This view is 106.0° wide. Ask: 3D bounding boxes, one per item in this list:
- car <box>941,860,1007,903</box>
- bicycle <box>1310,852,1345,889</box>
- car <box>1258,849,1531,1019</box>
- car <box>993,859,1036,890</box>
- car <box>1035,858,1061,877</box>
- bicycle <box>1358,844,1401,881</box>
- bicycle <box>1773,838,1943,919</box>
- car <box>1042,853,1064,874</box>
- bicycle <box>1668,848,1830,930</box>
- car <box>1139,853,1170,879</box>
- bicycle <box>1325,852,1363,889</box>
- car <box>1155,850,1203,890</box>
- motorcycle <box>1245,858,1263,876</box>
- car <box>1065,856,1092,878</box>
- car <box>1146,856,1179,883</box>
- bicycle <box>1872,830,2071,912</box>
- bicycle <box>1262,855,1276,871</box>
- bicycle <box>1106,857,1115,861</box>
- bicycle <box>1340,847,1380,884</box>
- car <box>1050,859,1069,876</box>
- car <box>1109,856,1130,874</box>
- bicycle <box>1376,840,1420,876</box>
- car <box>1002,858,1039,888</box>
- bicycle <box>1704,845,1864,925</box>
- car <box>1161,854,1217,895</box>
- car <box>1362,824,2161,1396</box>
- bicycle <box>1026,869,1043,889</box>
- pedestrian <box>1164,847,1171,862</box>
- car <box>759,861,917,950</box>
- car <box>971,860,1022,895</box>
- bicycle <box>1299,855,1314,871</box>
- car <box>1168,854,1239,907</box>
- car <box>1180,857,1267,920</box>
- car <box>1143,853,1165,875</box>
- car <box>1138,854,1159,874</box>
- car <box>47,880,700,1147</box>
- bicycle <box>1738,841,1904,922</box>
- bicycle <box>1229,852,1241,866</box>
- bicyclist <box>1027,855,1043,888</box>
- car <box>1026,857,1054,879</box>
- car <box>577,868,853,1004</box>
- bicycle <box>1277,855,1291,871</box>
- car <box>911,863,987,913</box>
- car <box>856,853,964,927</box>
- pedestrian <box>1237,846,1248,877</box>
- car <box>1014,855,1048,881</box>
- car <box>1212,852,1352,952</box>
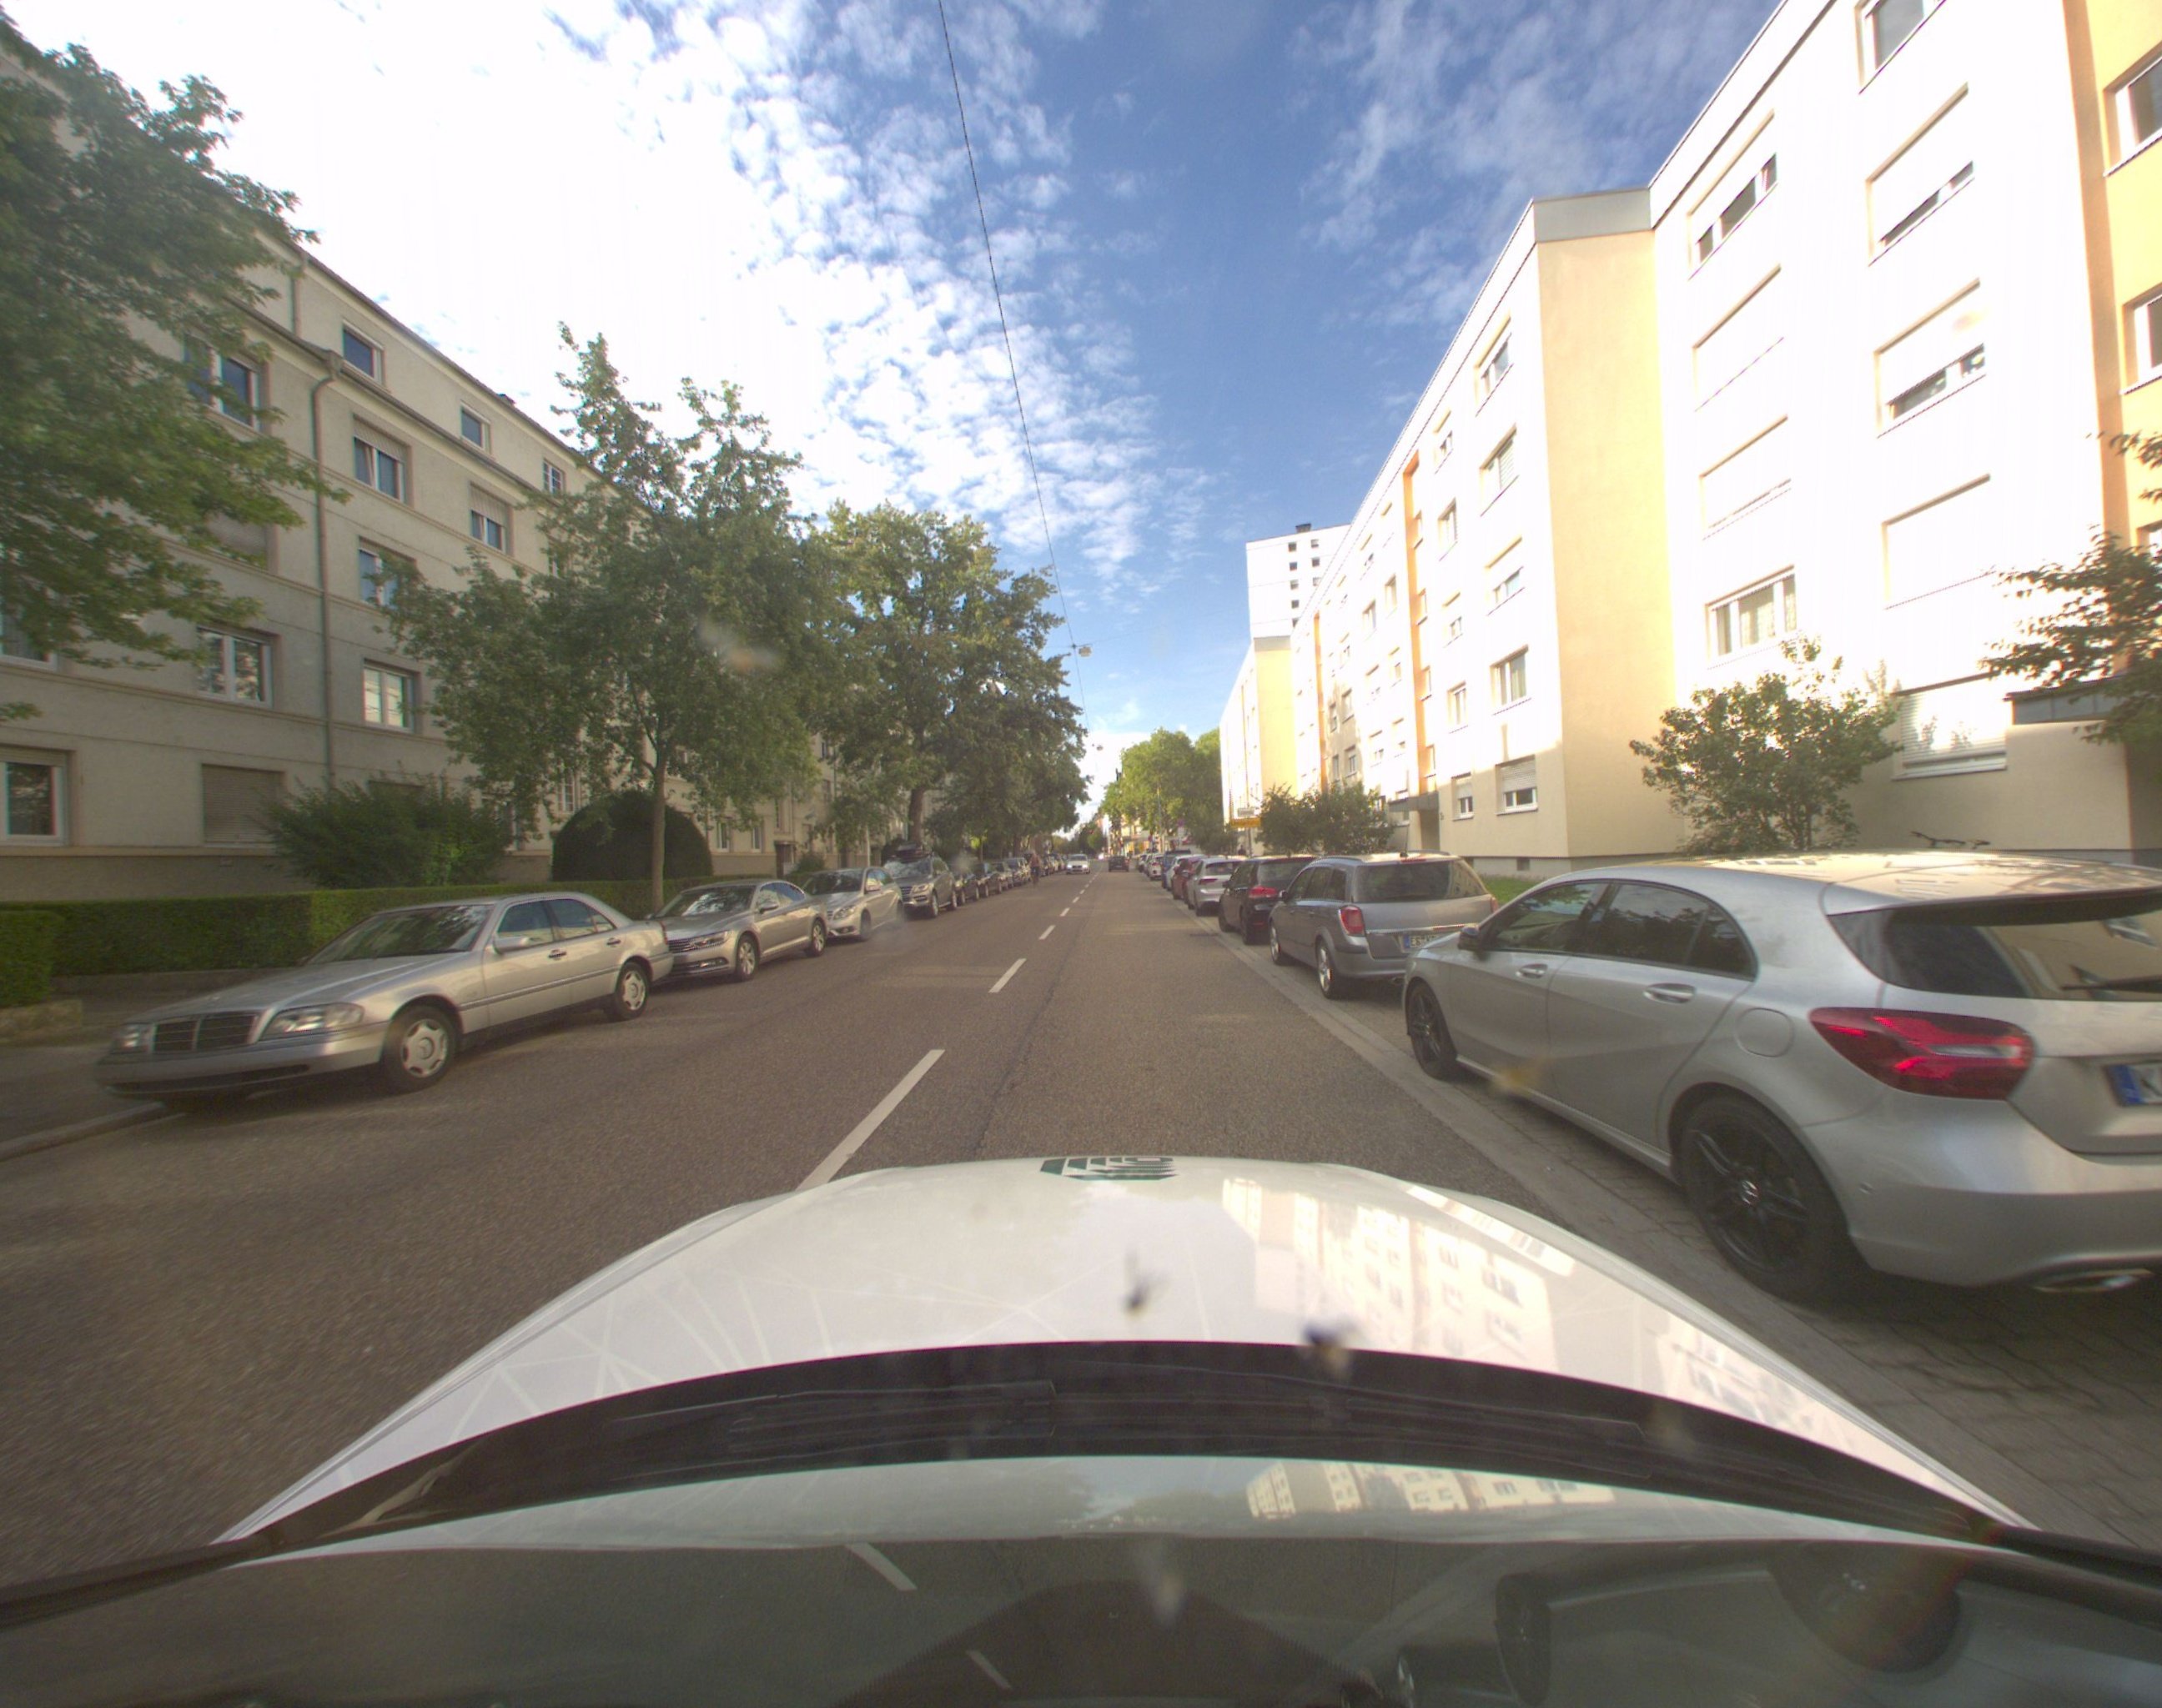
[{"bbox_3d":[-4.410,1.112,34.331,1.677,1.480,4.458,-6,0,5],"label":"car"},{"bbox_3d":[9.291,0.596,30.807,0.601,1.291,2.637,-3,0,3],"label":"bicycle"},{"bbox_3d":[3.372,0.747,9.711,1.677,1.485,4.296,-4,0,2],"label":"car"},{"bbox_3d":[-3.601,1.075,44.593,1.607,1.468,4.018,-5,-1,4],"label":"car"},{"bbox_3d":[-2.926,1.216,72.777,1.686,1.493,4.339,-4,0,6],"label":"car"},{"bbox_3d":[11.238,0.316,30.759,0.723,1.291,2.637,-3,0,3],"label":"bicycle"},{"bbox_3d":[11.203,0.333,11.852,0.499,1.030,2.027,-5,-1,2],"label":"bicycle"},{"bbox_3d":[-2.639,0.885,78.210,1.716,1.882,4.194,-4,0,2],"label":"car"},{"bbox_3d":[9.584,0.472,11.817,0.591,1.030,2.120,-5,-1,2],"label":"bicycle"},{"bbox_3d":[4.831,0.783,53.750,1.722,1.580,4.118,-4,0,2],"label":"car"},{"bbox_3d":[9.927,0.610,30.815,0.601,1.291,2.637,-4,0,3],"label":"bicycle"},{"bbox_3d":[4.473,0.708,37.575,1.722,1.649,4.118,-4,0,2],"label":"car"},{"bbox_3d":[10.390,0.755,48.982,0.628,1.045,2.394,-2,0,2],"label":"motorcycle"},{"bbox_3d":[-0.157,0.999,64.632,1.851,1.528,4.014,-2,0,3],"label":"car"},{"bbox_3d":[4.743,0.879,47.745,1.721,1.487,4.646,-2,0,4],"label":"car"},{"bbox_3d":[12.645,0.228,11.683,0.499,1.030,2.136,-6,-1,3],"label":"bicycle"},{"bbox_3d":[11.303,0.515,48.901,0.457,0.941,1.517,-4,0,2],"label":"bicycle"},{"bbox_3d":[7.505,1.251,206.762,2.023,1.082,0.618,-3,0,-12],"label":"bicycle"},{"bbox_3d":[10.520,0.427,30.777,0.593,1.291,2.637,-5,-1,3],"label":"bicycle"},{"bbox_3d":[-2.330,1.395,87.838,1.793,1.620,3.803,-5,0,1],"label":"car"},{"bbox_3d":[3.359,0.955,71.338,1.745,1.413,4.002,-2,0,2],"label":"car"},{"bbox_3d":[11.951,0.150,30.804,0.723,1.291,2.637,-2,0,3],"label":"bicycle"},{"bbox_3d":[-3.659,1.114,49.986,1.733,1.620,3.995,-6,0,1],"label":"car"},{"bbox_3d":[10.177,0.418,11.905,0.499,1.030,2.097,-5,-1,2],"label":"bicycle"},{"bbox_3d":[4.281,0.789,32.763,1.722,1.461,4.118,-4,0,2],"label":"car"},{"bbox_3d":[3.069,0.678,4.292,1.694,1.463,4.179,-4,0,0],"label":"car"},{"bbox_3d":[-2.285,1.236,40.285,0.639,0.923,1.859,-2,0,3],"label":"bicycle"},{"bbox_3d":[9.942,0.039,93.430,0.650,1.645,0.743,-2,0,2],"label":"pedestrian"},{"bbox_3d":[-5.194,1.017,18.095,1.847,1.573,4.463,-4,0,3],"label":"car"},{"bbox_3d":[-4.069,1.112,39.874,1.592,1.418,3.971,-6,0,6],"label":"car"},{"bbox_3d":[13.471,0.519,48.673,0.457,0.927,1.517,-4,0,2],"label":"bicycle"},{"bbox_3d":[3.978,0.817,27.064,1.723,1.515,4.191,-4,0,1],"label":"car"},{"bbox_3d":[3.680,0.846,21.632,1.655,1.416,4.061,-4,-1,2],"label":"car"},{"bbox_3d":[5.554,0.768,62.276,1.545,1.557,3.470,-2,0,3],"label":"car"},{"bbox_3d":[5.664,0.820,68.193,1.682,1.528,4.243,-2,0,5],"label":"car"},{"bbox_3d":[-5.580,1.089,7.495,1.732,1.393,4.667,-5,0,2],"label":"car"},{"bbox_3d":[10.695,0.372,11.885,0.499,1.030,2.070,-5,-1,2],"label":"bicycle"},{"bbox_3d":[12.870,0.398,68.184,0.594,1.115,2.210,-4,0,3],"label":"bicycle"},{"bbox_3d":[-2.263,0.855,40.254,0.638,1.601,0.990,-2,-1,2],"label":"bicyclist"},{"bbox_3d":[-3.158,1.065,63.852,1.693,1.487,3.851,-5,0,3],"label":"car"},{"bbox_3d":[-5.407,1.100,12.955,1.848,1.486,4.947,-6,0,2],"label":"car"},{"bbox_3d":[12.119,0.519,48.587,0.457,0.927,1.517,-4,0,2],"label":"bicycle"},{"bbox_3d":[-4.714,1.168,29.693,1.678,1.480,4.124,-6,0,4],"label":"car"},{"bbox_3d":[-4.866,0.958,23.947,1.870,1.793,4.972,-5,0,1],"label":"car"},{"bbox_3d":[9.284,0.442,46.902,0.539,1.721,0.773,-2,-1,7],"label":"pedestrian"},{"bbox_3d":[-3.637,0.967,59.681,1.792,1.668,4.486,-5,0,3],"label":"car"},{"bbox_3d":[3.522,0.778,14.967,1.655,1.491,3.943,-4,-1,2],"label":"car"}]
